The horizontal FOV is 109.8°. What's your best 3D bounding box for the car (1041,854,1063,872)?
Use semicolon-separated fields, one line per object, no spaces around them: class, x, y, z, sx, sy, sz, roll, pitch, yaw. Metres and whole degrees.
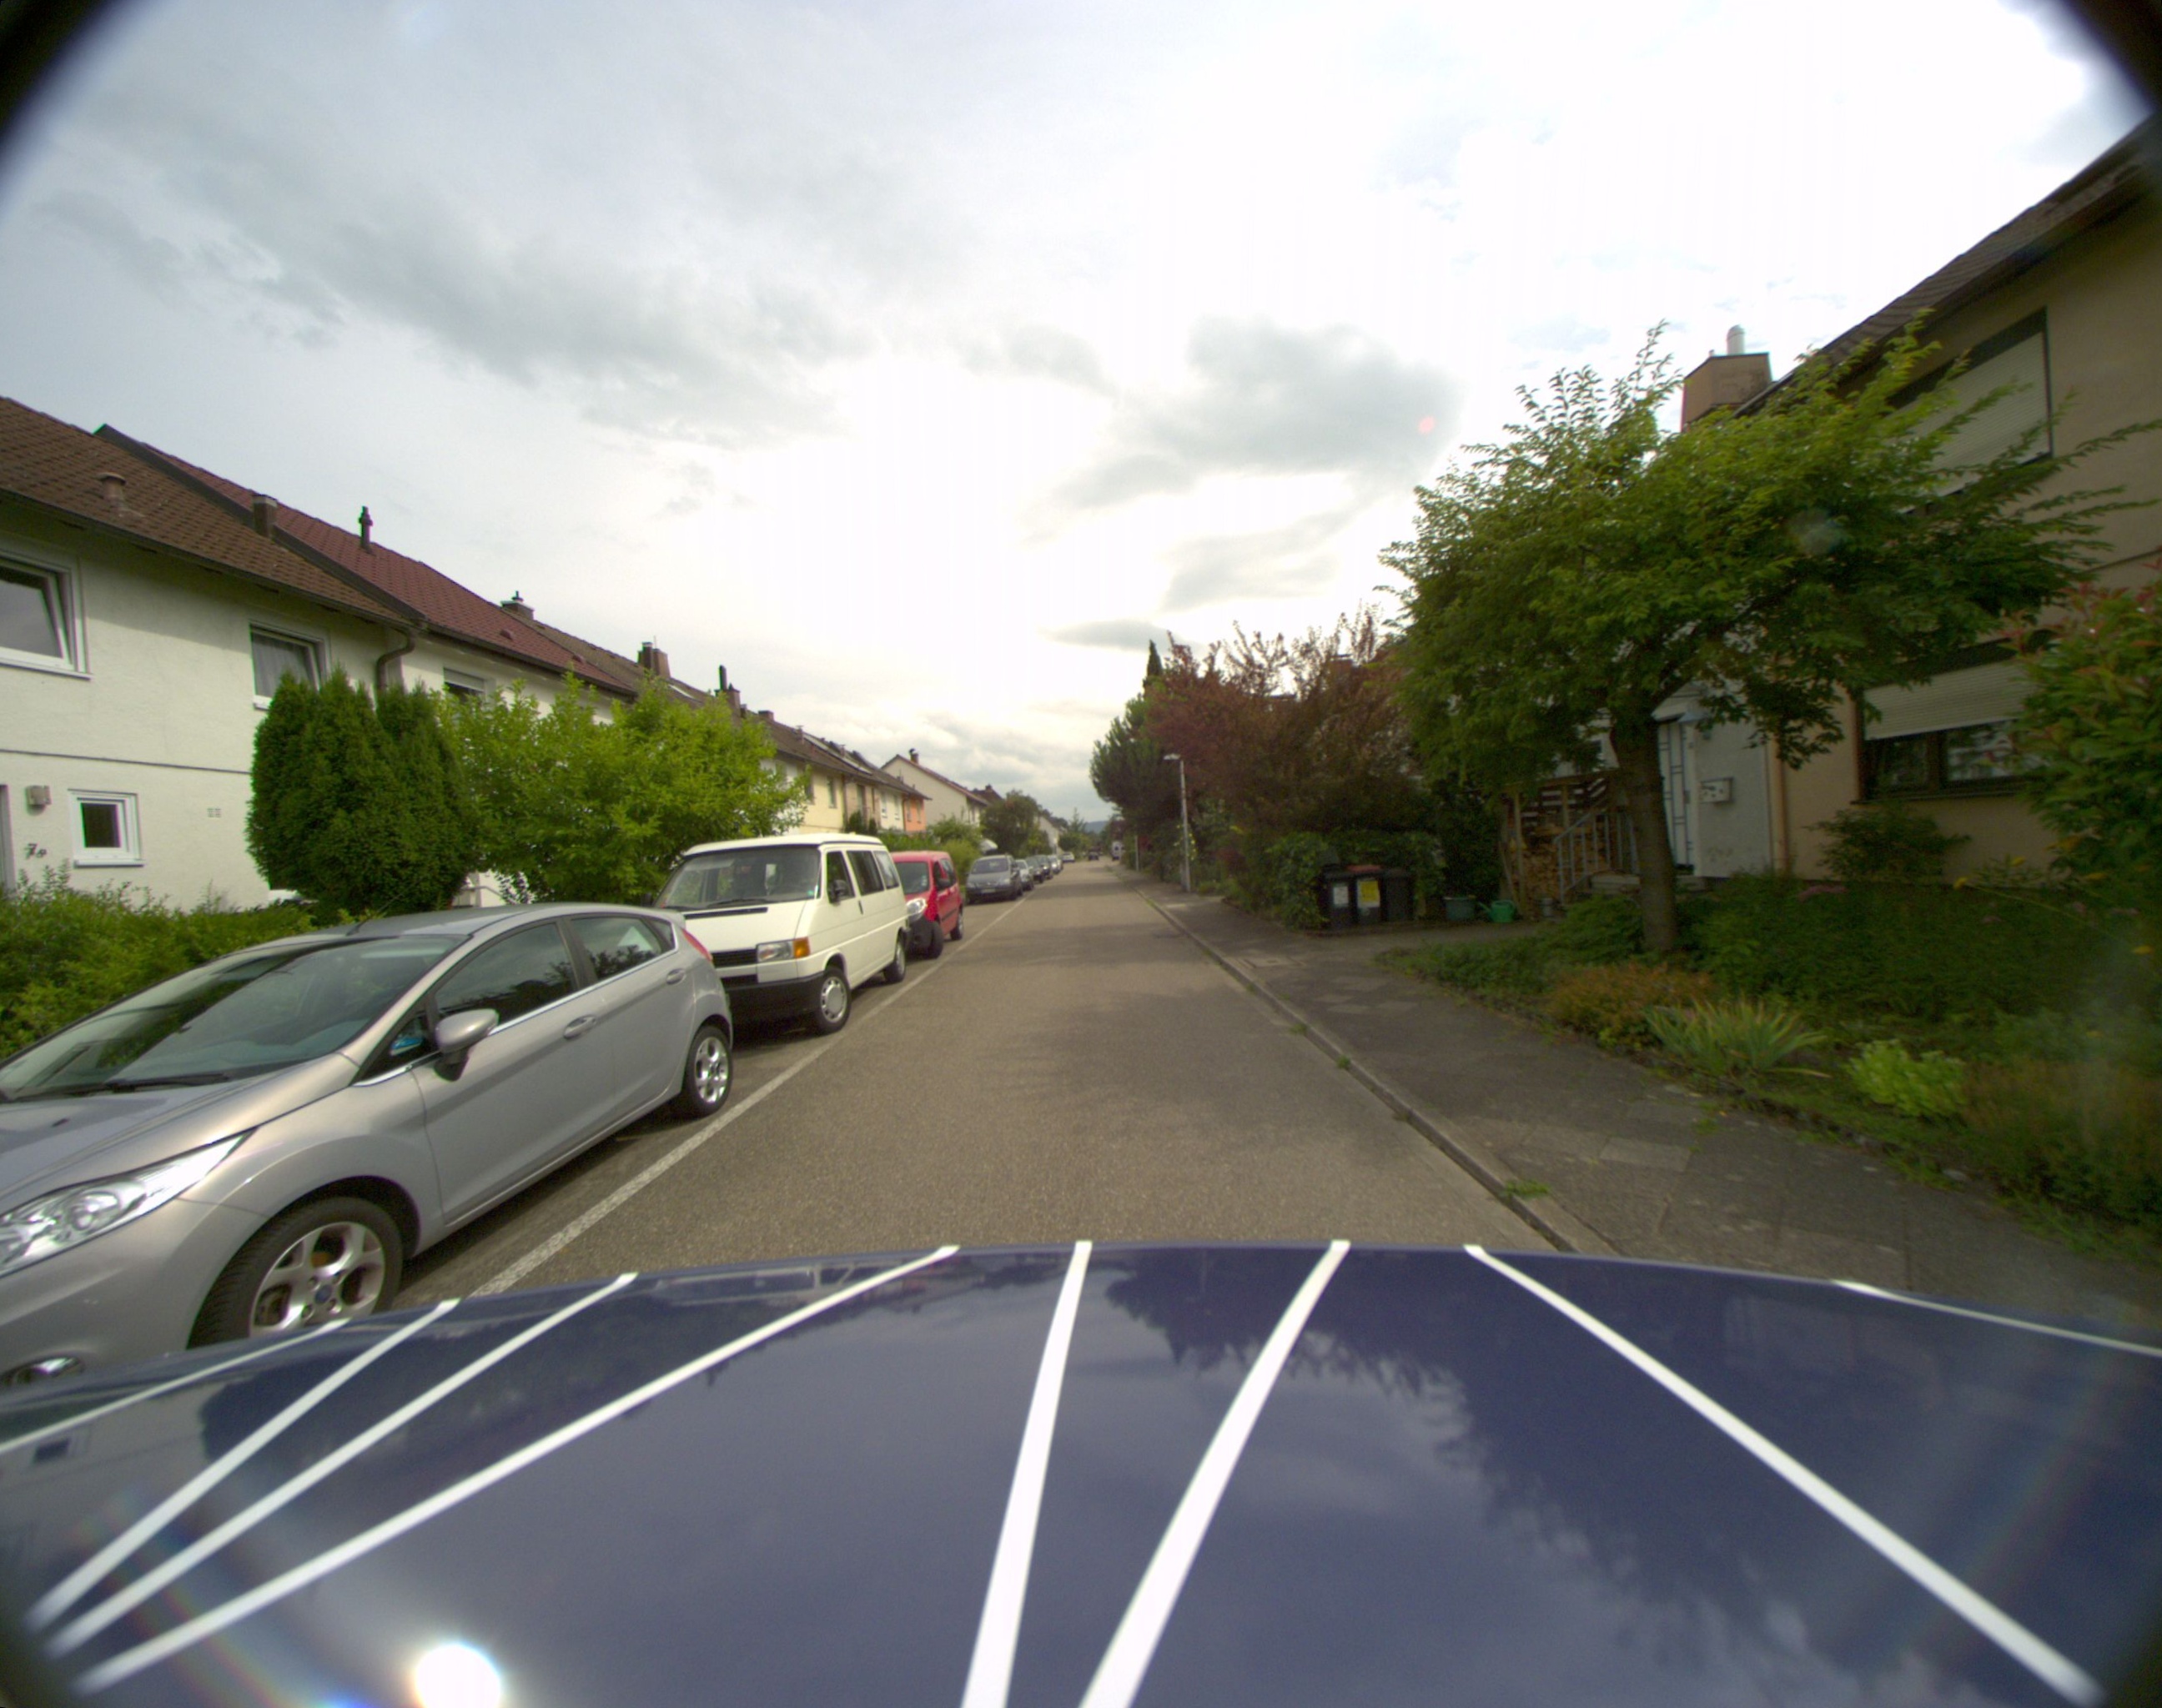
car;-2.466;0.747;65.567;1.697;1.357;4.697;-4;0;0

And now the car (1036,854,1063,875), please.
car;-2.483;0.806;60.198;1.746;1.462;4.217;-3;0;2

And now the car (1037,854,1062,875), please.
car;-2.451;0.794;59.973;1.707;1.434;4.219;-5;0;-1

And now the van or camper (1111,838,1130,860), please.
van or camper;5.331;-0.703;102.903;2.346;2.719;5.747;-4;0;2

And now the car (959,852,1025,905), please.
car;-3.131;0.820;27.691;1.872;1.644;4.463;-4;0;-1

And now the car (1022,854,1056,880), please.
car;-2.589;0.774;47.650;1.753;1.458;4.647;-4;0;0

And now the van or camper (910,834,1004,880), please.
van or camper;-8.507;0.205;52.561;5.811;2.802;2.537;-3;1;5

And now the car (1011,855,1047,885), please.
car;-2.832;0.837;41.996;1.737;1.419;4.125;-4;0;-1

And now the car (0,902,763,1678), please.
car;-3.334;1.135;3.421;1.905;1.451;4.129;-3;0;1

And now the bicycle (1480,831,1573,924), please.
bicycle;7.208;0.350;12.379;0.432;1.387;1.848;-3;1;2

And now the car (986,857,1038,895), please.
car;-3.021;0.936;34.133;1.872;1.399;4.766;-5;0;-1

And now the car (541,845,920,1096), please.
car;-3.333;0.930;8.523;2.026;1.936;4.746;-3;0;-1

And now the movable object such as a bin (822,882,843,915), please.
movable object such as a bin;-8.025;1.424;24.543;0.426;0.982;0.887;-3;1;-7

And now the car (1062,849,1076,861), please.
car;-1.800;0.191;112.777;1.999;1.590;3.999;-4;0;-2

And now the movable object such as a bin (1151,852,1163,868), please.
movable object such as a bin;5.282;0.425;52.742;0.705;1.065;0.822;-2;1;0

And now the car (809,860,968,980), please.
car;-3.182;0.996;13.522;1.815;1.641;4.409;-3;0;-3
